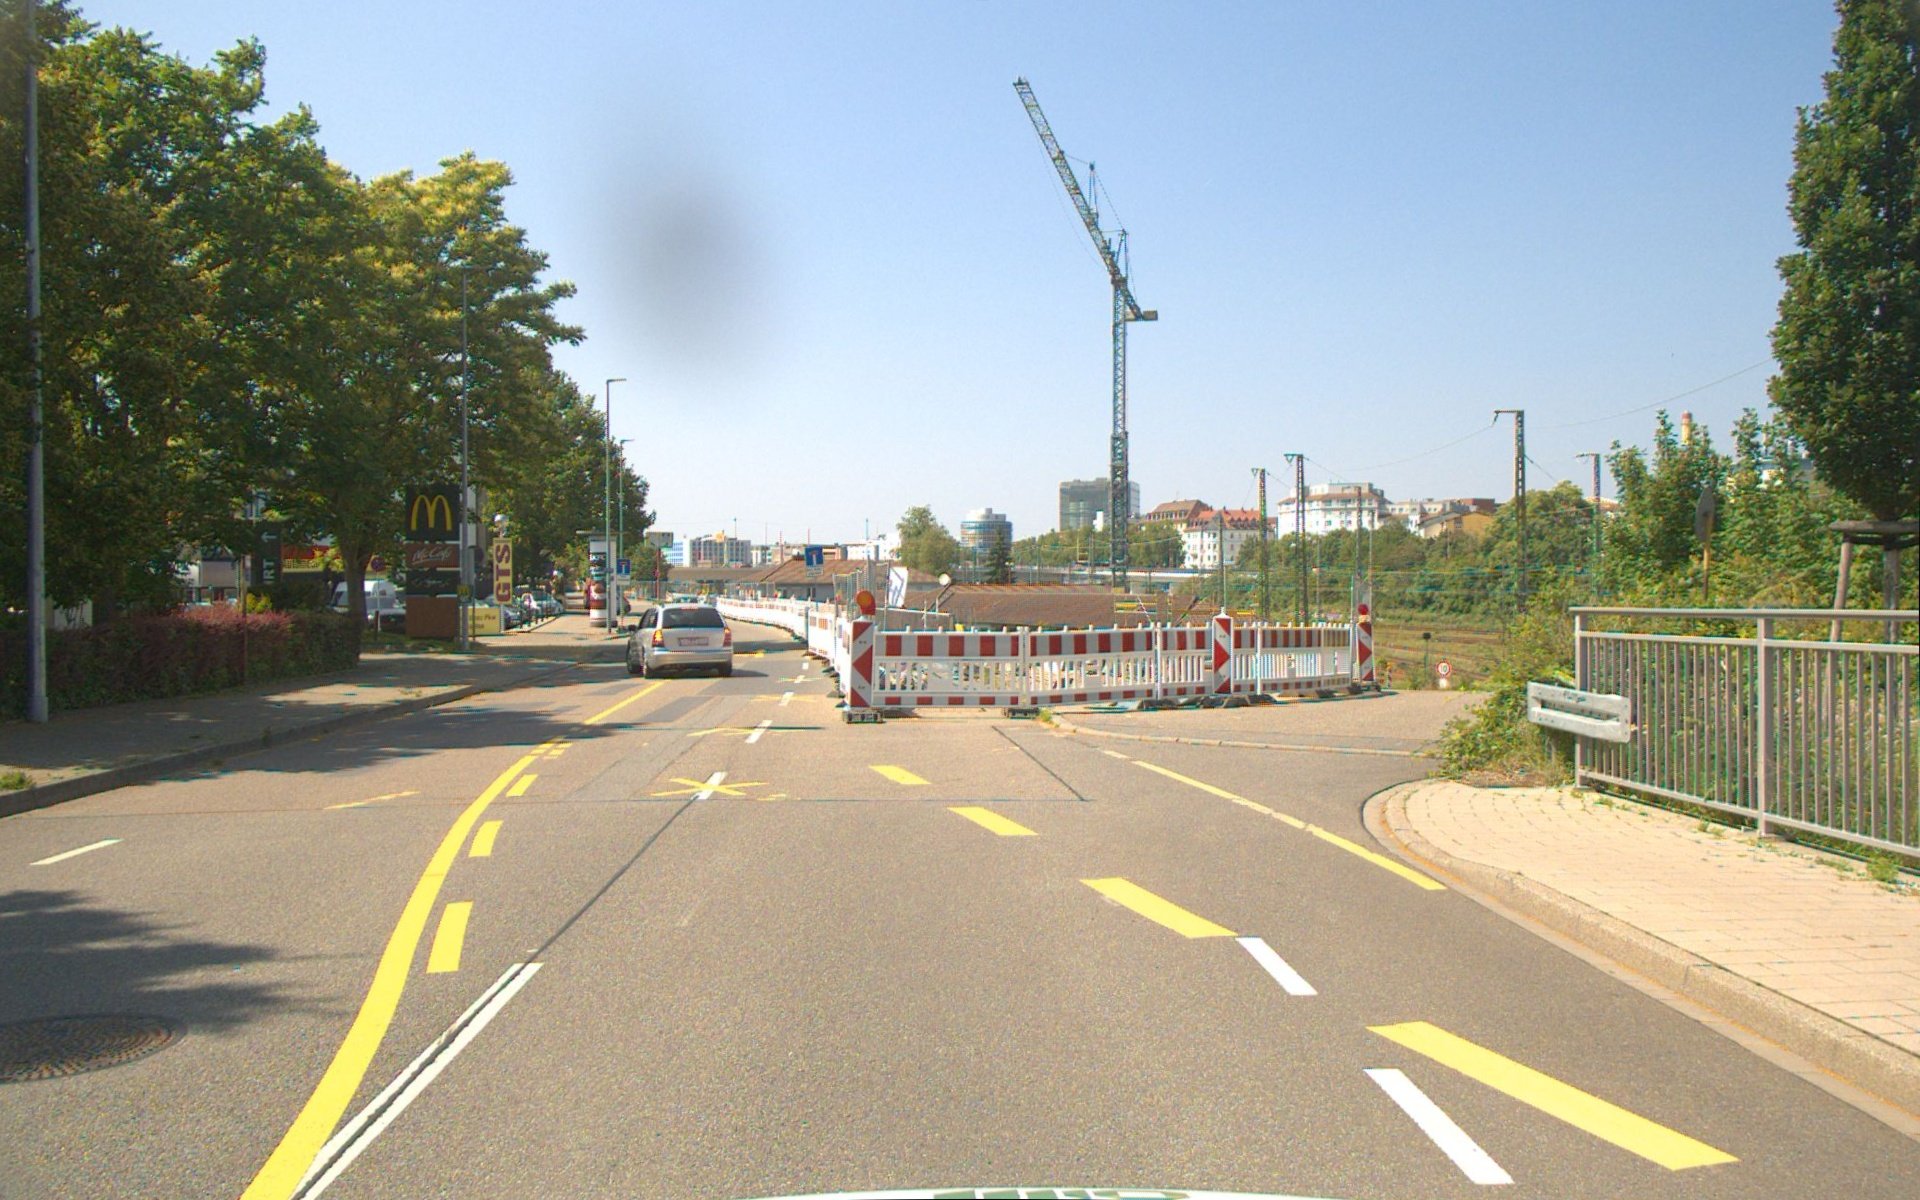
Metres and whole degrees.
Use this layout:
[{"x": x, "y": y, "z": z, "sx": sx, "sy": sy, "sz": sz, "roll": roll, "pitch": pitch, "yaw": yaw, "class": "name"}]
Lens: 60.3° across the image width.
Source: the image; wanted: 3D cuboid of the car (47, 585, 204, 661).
[{"x": -25.319, "y": 0.714, "z": 50.179, "sx": 4.422, "sy": 1.953, "sz": 1.891, "roll": -4, "pitch": 1, "yaw": 27, "class": "car"}]

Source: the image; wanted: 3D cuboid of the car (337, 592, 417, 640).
[{"x": -23.667, "y": 0.665, "z": 67.046, "sx": 2.025, "sy": 1.737, "sz": 4.263, "roll": -2, "pitch": -1, "yaw": -34, "class": "car"}]

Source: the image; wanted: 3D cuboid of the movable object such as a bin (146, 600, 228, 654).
[{"x": -24.412, "y": 0.845, "z": 52.257, "sx": 1.732, "sy": 1.552, "sz": 1.457, "roll": -3, "pitch": 2, "yaw": 14, "class": "movable object such as a bin"}]

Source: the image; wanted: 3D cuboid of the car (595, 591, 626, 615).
[{"x": -24.908, "y": 0.209, "z": 117.943, "sx": 1.834, "sy": 1.524, "sz": 4.024, "roll": -2, "pitch": 2, "yaw": -9, "class": "car"}]

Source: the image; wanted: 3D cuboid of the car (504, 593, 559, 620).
[{"x": -26.286, "y": 0.431, "z": 101.385, "sx": 1.765, "sy": 1.498, "sz": 3.943, "roll": -4, "pitch": 2, "yaw": -39, "class": "car"}]

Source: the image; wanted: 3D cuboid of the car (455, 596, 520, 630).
[{"x": -22.742, "y": 0.644, "z": 79.557, "sx": 1.821, "sy": 1.498, "sz": 3.951, "roll": -4, "pitch": 2, "yaw": -34, "class": "car"}]

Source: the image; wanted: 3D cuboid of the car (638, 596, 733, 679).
[{"x": -5.464, "y": 0.680, "z": 32.752, "sx": 1.678, "sy": 1.428, "sz": 4.375, "roll": -2, "pitch": 1, "yaw": -10, "class": "car"}]

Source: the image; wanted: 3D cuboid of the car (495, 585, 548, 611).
[{"x": -33.959, "y": -0.129, "z": 127.997, "sx": 3.864, "sy": 1.993, "sz": 1.749, "roll": 0, "pitch": 0, "yaw": -20, "class": "car"}]

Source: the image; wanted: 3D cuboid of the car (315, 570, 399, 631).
[{"x": -29.707, "y": 0.042, "z": 81.686, "sx": 2.232, "sy": 2.806, "sz": 6.147, "roll": -1, "pitch": 0, "yaw": -4, "class": "car"}]

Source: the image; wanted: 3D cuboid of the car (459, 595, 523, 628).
[{"x": -24.091, "y": 0.610, "z": 84.911, "sx": 1.767, "sy": 1.498, "sz": 3.947, "roll": -4, "pitch": 1, "yaw": -37, "class": "car"}]
